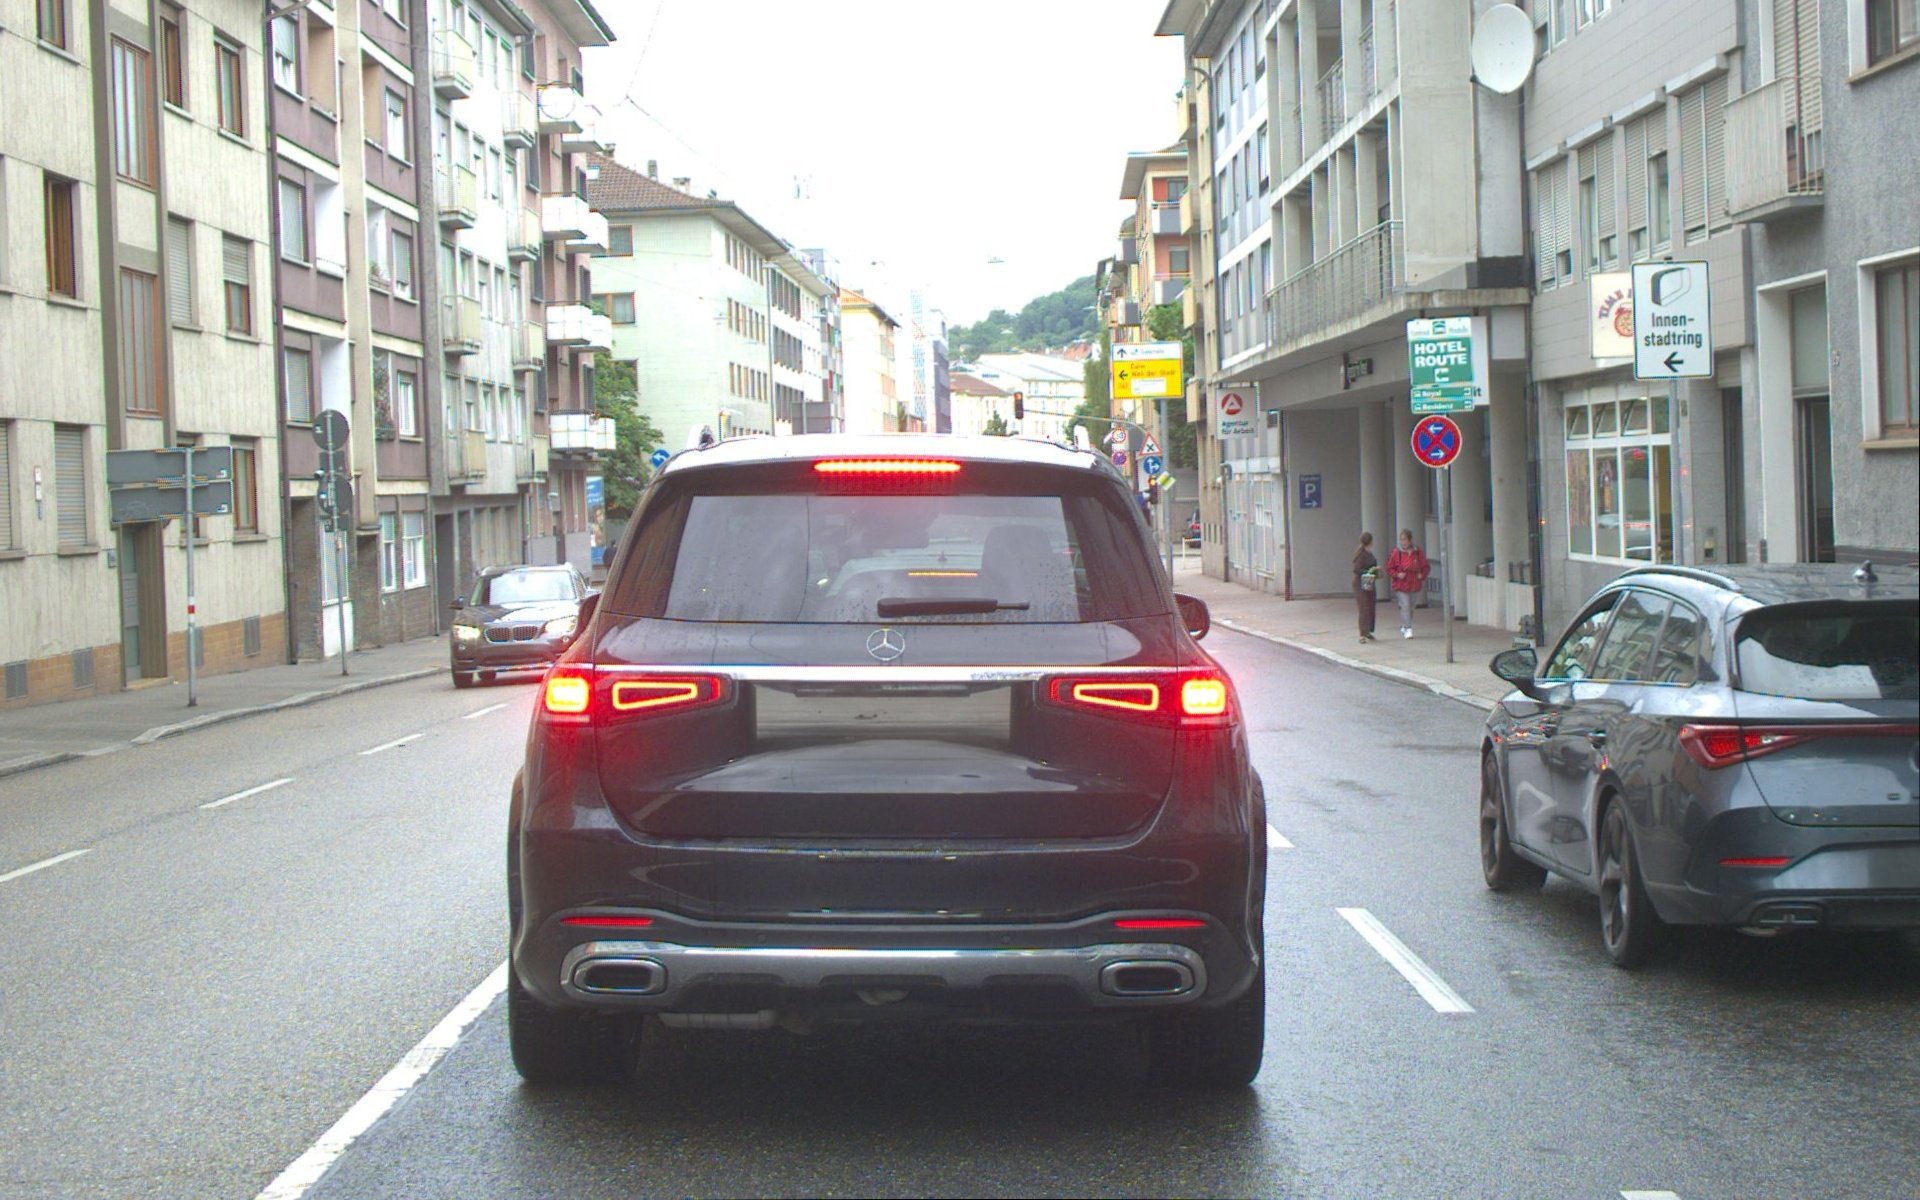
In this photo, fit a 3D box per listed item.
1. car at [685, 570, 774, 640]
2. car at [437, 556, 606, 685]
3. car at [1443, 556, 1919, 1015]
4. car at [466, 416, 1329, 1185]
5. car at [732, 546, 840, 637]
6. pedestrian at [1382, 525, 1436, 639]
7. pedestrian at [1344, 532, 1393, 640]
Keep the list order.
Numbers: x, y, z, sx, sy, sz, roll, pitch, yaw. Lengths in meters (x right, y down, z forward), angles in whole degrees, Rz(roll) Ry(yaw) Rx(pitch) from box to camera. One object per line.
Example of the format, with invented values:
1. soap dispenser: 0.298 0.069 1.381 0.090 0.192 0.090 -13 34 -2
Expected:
1. car: -5.848 0.103 87.641 1.797 1.579 4.316 -3 1 1
2. car: -5.784 0.229 45.756 1.703 1.502 4.160 -4 1 -1
3. car: 3.010 0.574 13.153 1.621 1.425 4.312 1 1 -1
4. car: -0.183 0.444 10.196 2.025 1.799 4.000 1 1 -1
5. car: -3.648 -0.208 72.625 1.836 1.721 4.474 -4 1 1
6. pedestrian: 6.385 -0.261 48.900 0.560 1.573 0.526 -4 1 -5
7. pedestrian: 5.793 -0.201 48.780 0.506 1.495 0.562 -4 1 -3
